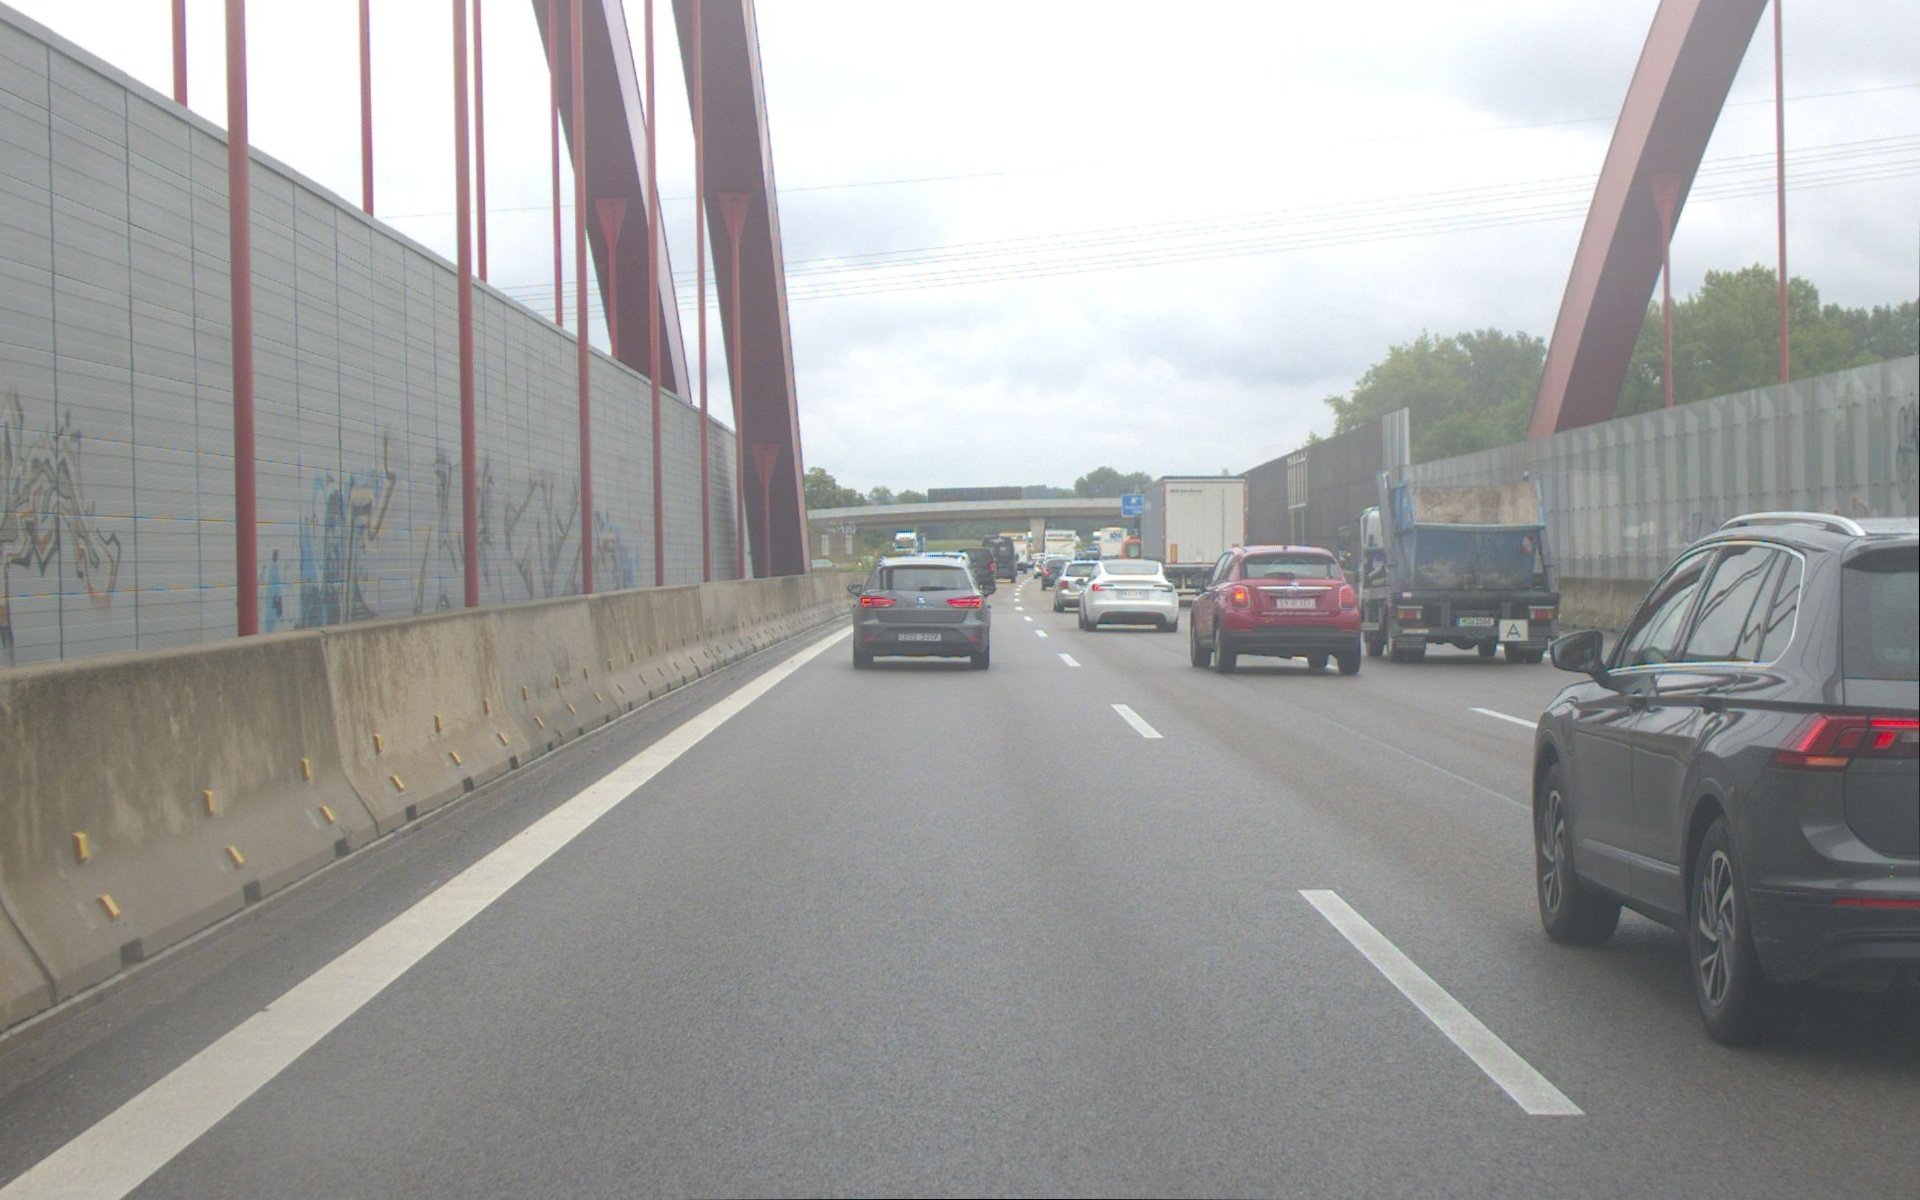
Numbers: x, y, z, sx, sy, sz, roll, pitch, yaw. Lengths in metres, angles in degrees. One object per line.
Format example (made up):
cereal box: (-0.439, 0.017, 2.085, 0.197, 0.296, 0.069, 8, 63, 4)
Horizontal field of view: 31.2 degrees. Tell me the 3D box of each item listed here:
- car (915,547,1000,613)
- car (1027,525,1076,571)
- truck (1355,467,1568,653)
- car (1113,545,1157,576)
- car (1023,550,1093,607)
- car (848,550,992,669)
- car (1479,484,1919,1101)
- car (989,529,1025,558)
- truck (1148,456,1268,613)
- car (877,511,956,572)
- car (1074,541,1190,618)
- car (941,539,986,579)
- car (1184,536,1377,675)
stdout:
car: (-0.074, -0.462, 75.414, 1.781, 1.401, 3.626, 0, 1, -1)
car: (4.062, -2.322, 153.393, 1.993, 2.007, 4.000, 1, 1, -1)
truck: (7.126, -0.599, 49.487, 2.361, 2.498, 6.144, 0, 1, 2)
car: (8.586, -1.966, 169.082, 1.993, 1.514, 4.000, 0, 1, 0)
car: (2.712, -0.618, 95.701, 1.702, 1.538, 3.839, 0, 1, -2)
car: (-0.504, 0.088, 44.319, 1.764, 1.448, 4.000, 0, 1, 0)
car: (3.071, 0.492, 11.361, 1.911, 1.664, 4.104, 0, 1, -3)
car: (2.621, -3.142, 191.466, 1.993, 1.618, 4.000, 0, 1, 1)
truck: (7.694, -2.032, 107.748, 3.044, 4.718, 7.680, 1, 1, -1)
car: (-1.185, -1.579, 92.227, 1.993, 1.579, 4.001, -1, 1, -2)
car: (3.397, -0.430, 68.518, 1.993, 1.481, 4.000, 0, 1, -1)
car: (0.146, -1.899, 157.359, 1.993, 1.809, 4.000, 0, 1, -1)
car: (4.020, 0.026, 43.673, 1.957, 1.641, 4.001, -1, 1, -1)
